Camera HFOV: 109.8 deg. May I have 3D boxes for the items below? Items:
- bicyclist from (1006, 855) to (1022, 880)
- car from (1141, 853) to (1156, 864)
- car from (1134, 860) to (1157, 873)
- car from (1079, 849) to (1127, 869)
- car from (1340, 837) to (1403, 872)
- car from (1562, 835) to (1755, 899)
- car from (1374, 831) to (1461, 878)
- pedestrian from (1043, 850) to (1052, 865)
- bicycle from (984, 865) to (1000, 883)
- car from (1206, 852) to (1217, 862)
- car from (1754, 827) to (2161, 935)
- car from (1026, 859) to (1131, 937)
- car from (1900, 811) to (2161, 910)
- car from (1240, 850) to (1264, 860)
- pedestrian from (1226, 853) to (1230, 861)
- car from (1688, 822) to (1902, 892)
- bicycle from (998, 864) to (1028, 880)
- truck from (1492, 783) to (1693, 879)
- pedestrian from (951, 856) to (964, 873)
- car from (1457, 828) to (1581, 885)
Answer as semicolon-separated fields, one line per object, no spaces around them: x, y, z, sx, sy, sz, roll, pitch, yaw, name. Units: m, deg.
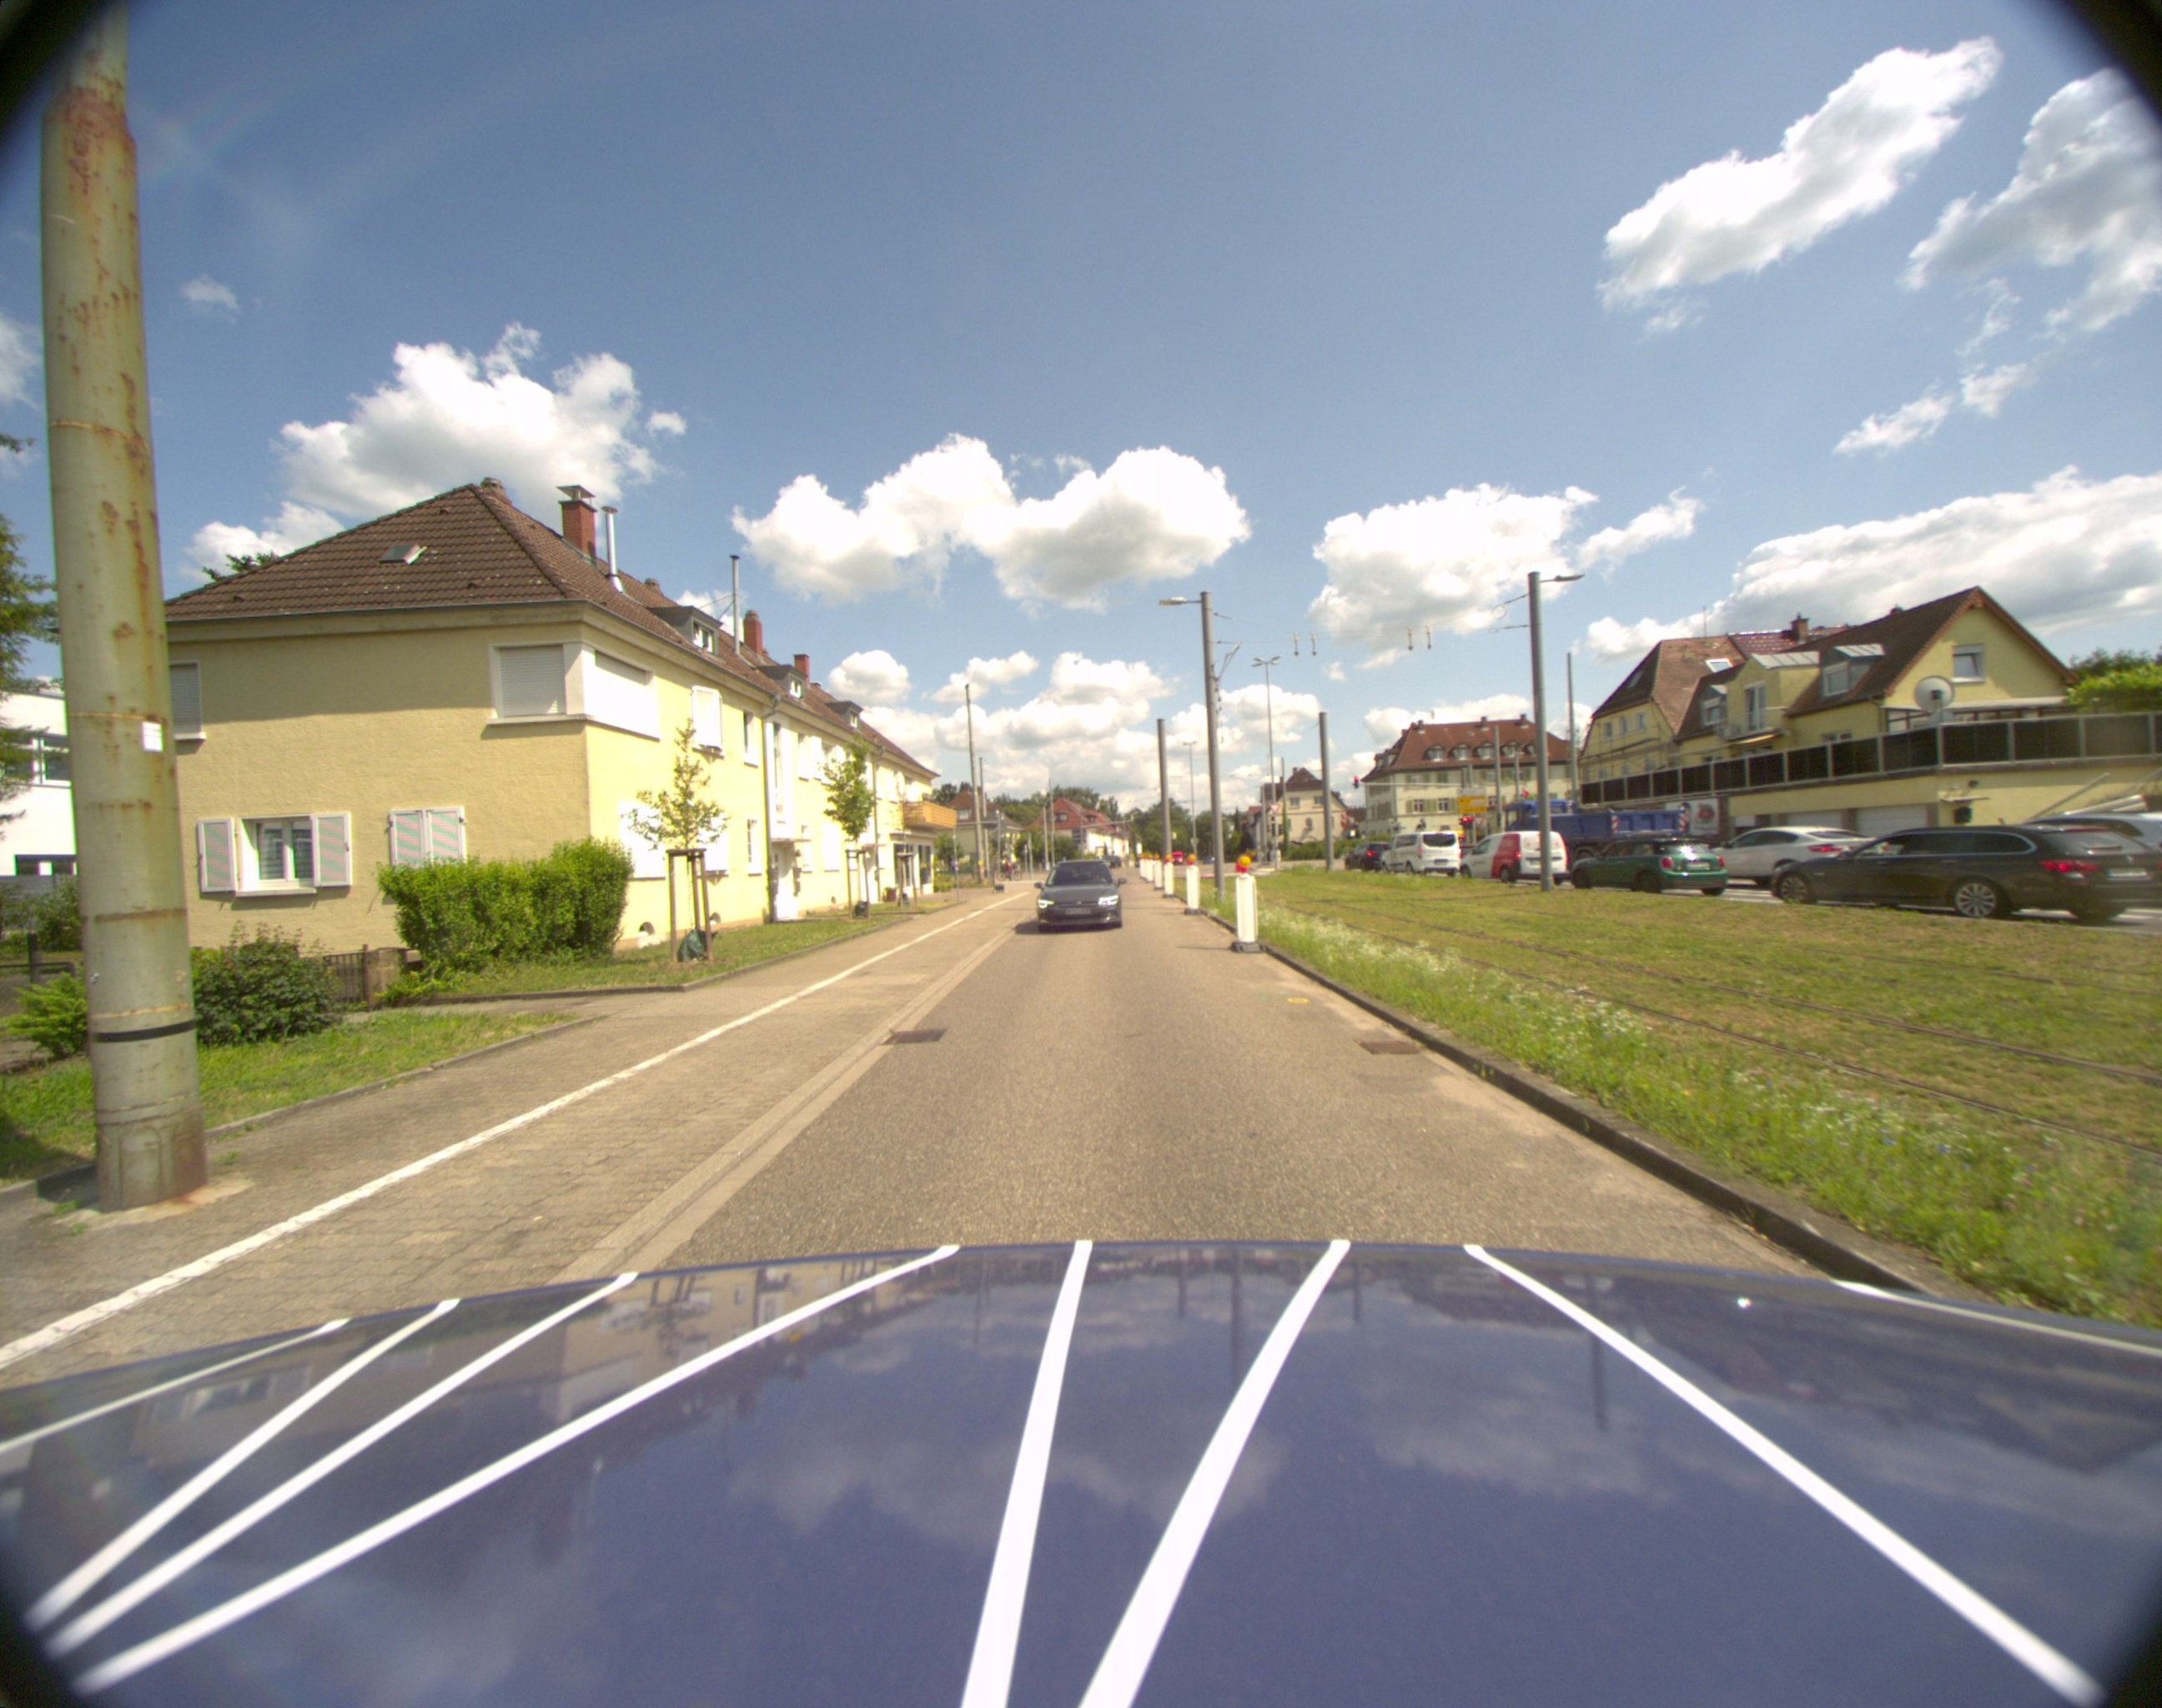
-4.943;1.005;56.149;0.961;1.765;0.718;-3;1;-17;bicyclist
9.066;0.591;101.991;1.708;1.453;3.157;-2;-1;9;car
7.576;1.433;89.025;1.707;1.453;3.159;-2;-1;22;car
2.421;0.543;84.193;4.879;1.754;1.774;-5;2;-24;car
15.526;0.064;40.873;1.790;1.710;4.442;-2;-1;2;car
14.592;0.290;19.521;1.919;1.410;4.000;-2;0;1;car
15.115;0.017;34.440;1.819;1.910;4.748;-2;0;0;car
-3.970;0.461;90.026;0.939;1.757;0.591;-2;0;-29;pedestrian
-5.583;1.243;47.501;0.595;1.090;2.273;-3;0;-17;bicycle
21.358;0.512;124.305;1.708;1.453;3.157;-2;-1;8;car
14.387;0.345;12.742;1.848;1.405;4.916;-2;0;1;car
0.093;0.886;17.354;1.765;1.465;4.690;-2;0;7;car
19.017;0.064;14.539;1.848;1.659;4.506;-2;0;1;car
25.489;0.140;112.983;1.757;1.378;4.110;-3;-1;39;car
27.356;0.499;141.360;0.631;1.526;0.618;-2;0;10;pedestrian
19.412;0.072;20.996;1.847;1.650;4.438;-2;0;3;car
-5.000;1.347;56.121;2.035;1.095;0.714;-3;1;-18;bicycle
19.676;-0.804;29.982;2.775;3.170;7.582;-2;0;1;truck
-12.782;1.076;78.889;1.031;1.724;1.041;-2;0;5;pedestrian
15.090;0.075;26.477;1.737;1.771;4.405;-2;0;0;car
